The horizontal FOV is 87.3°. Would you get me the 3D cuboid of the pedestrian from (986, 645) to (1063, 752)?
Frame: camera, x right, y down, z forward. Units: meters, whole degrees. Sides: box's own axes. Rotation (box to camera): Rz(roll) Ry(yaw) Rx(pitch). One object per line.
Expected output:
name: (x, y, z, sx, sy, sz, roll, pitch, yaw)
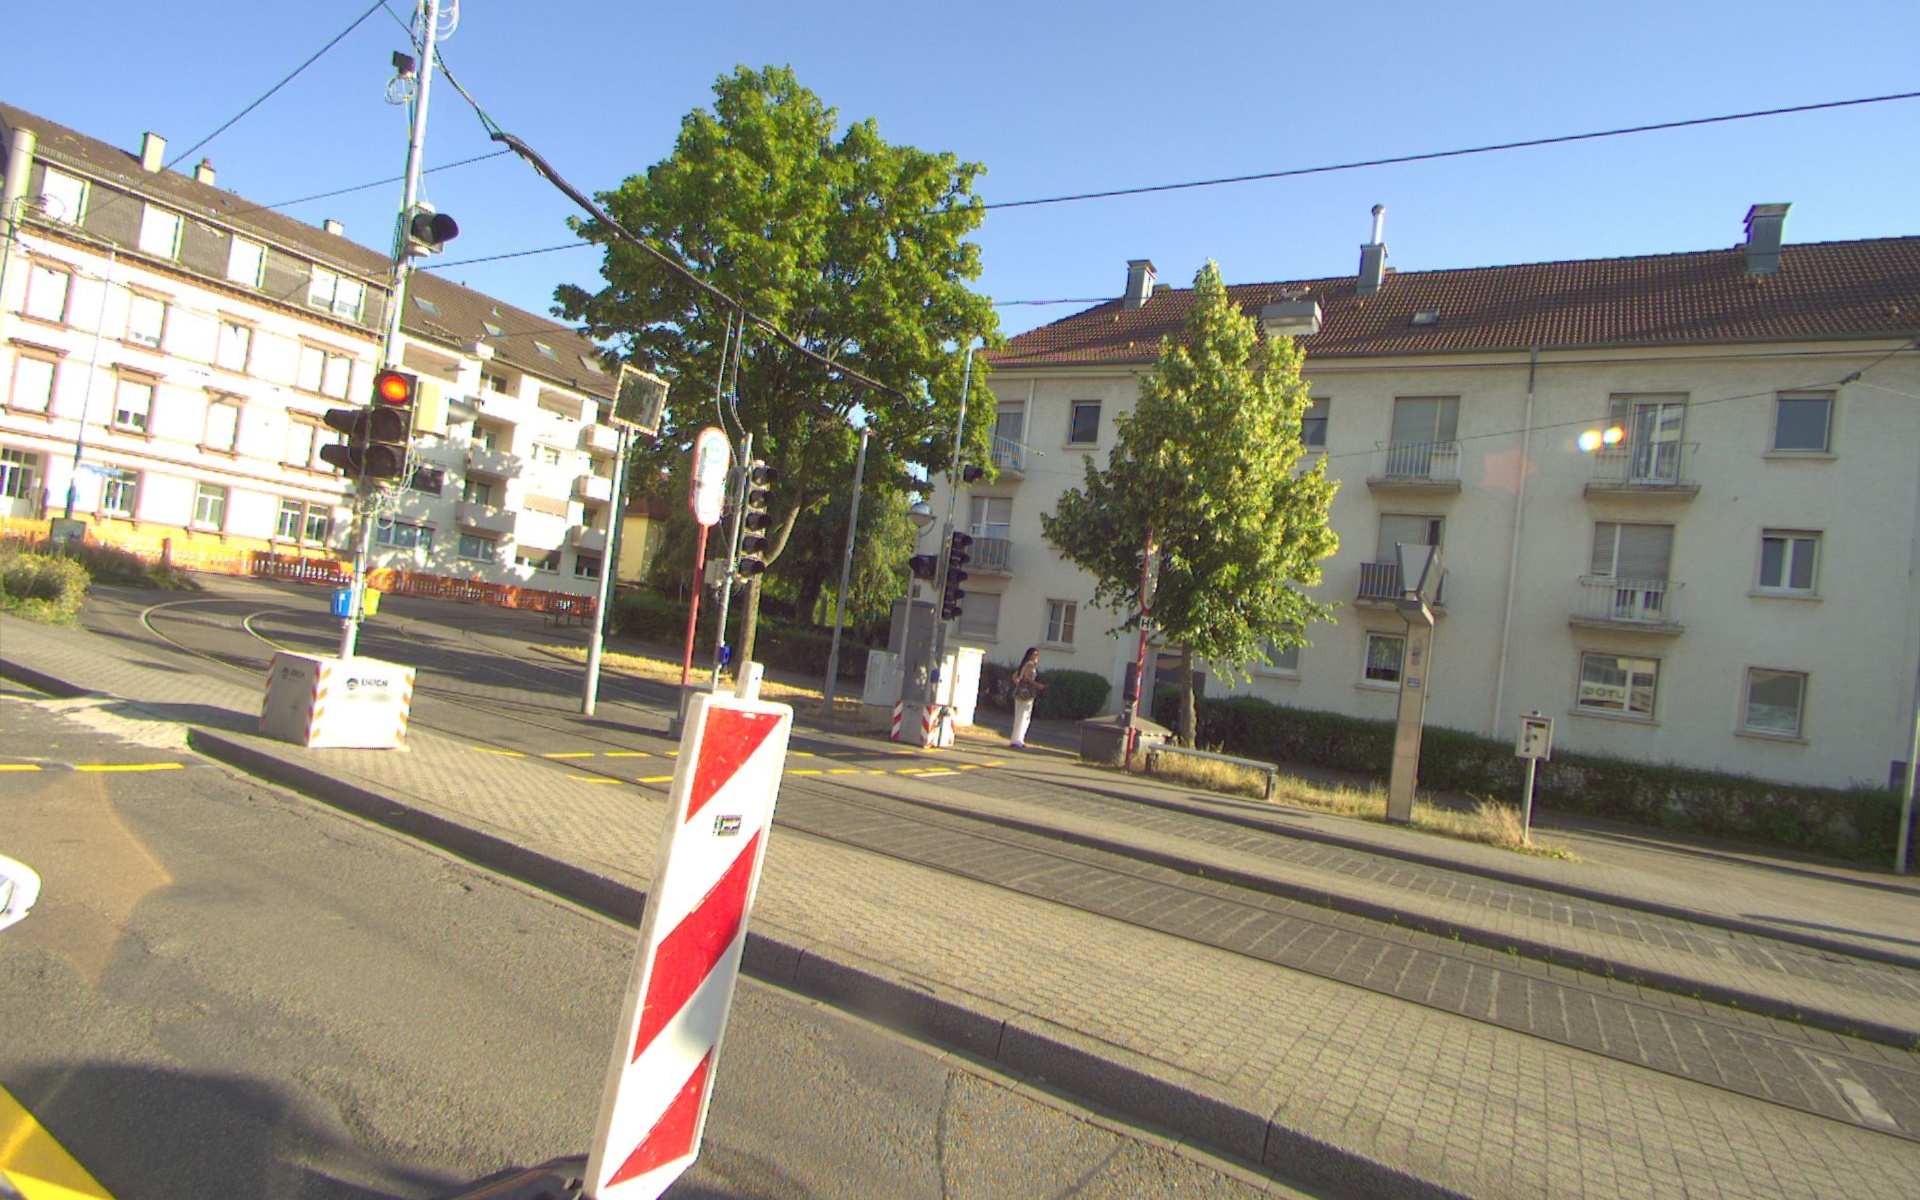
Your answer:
pedestrian: (1.076, 1.631, 16.711, 0.779, 1.639, 0.824, 6, -1, 36)
